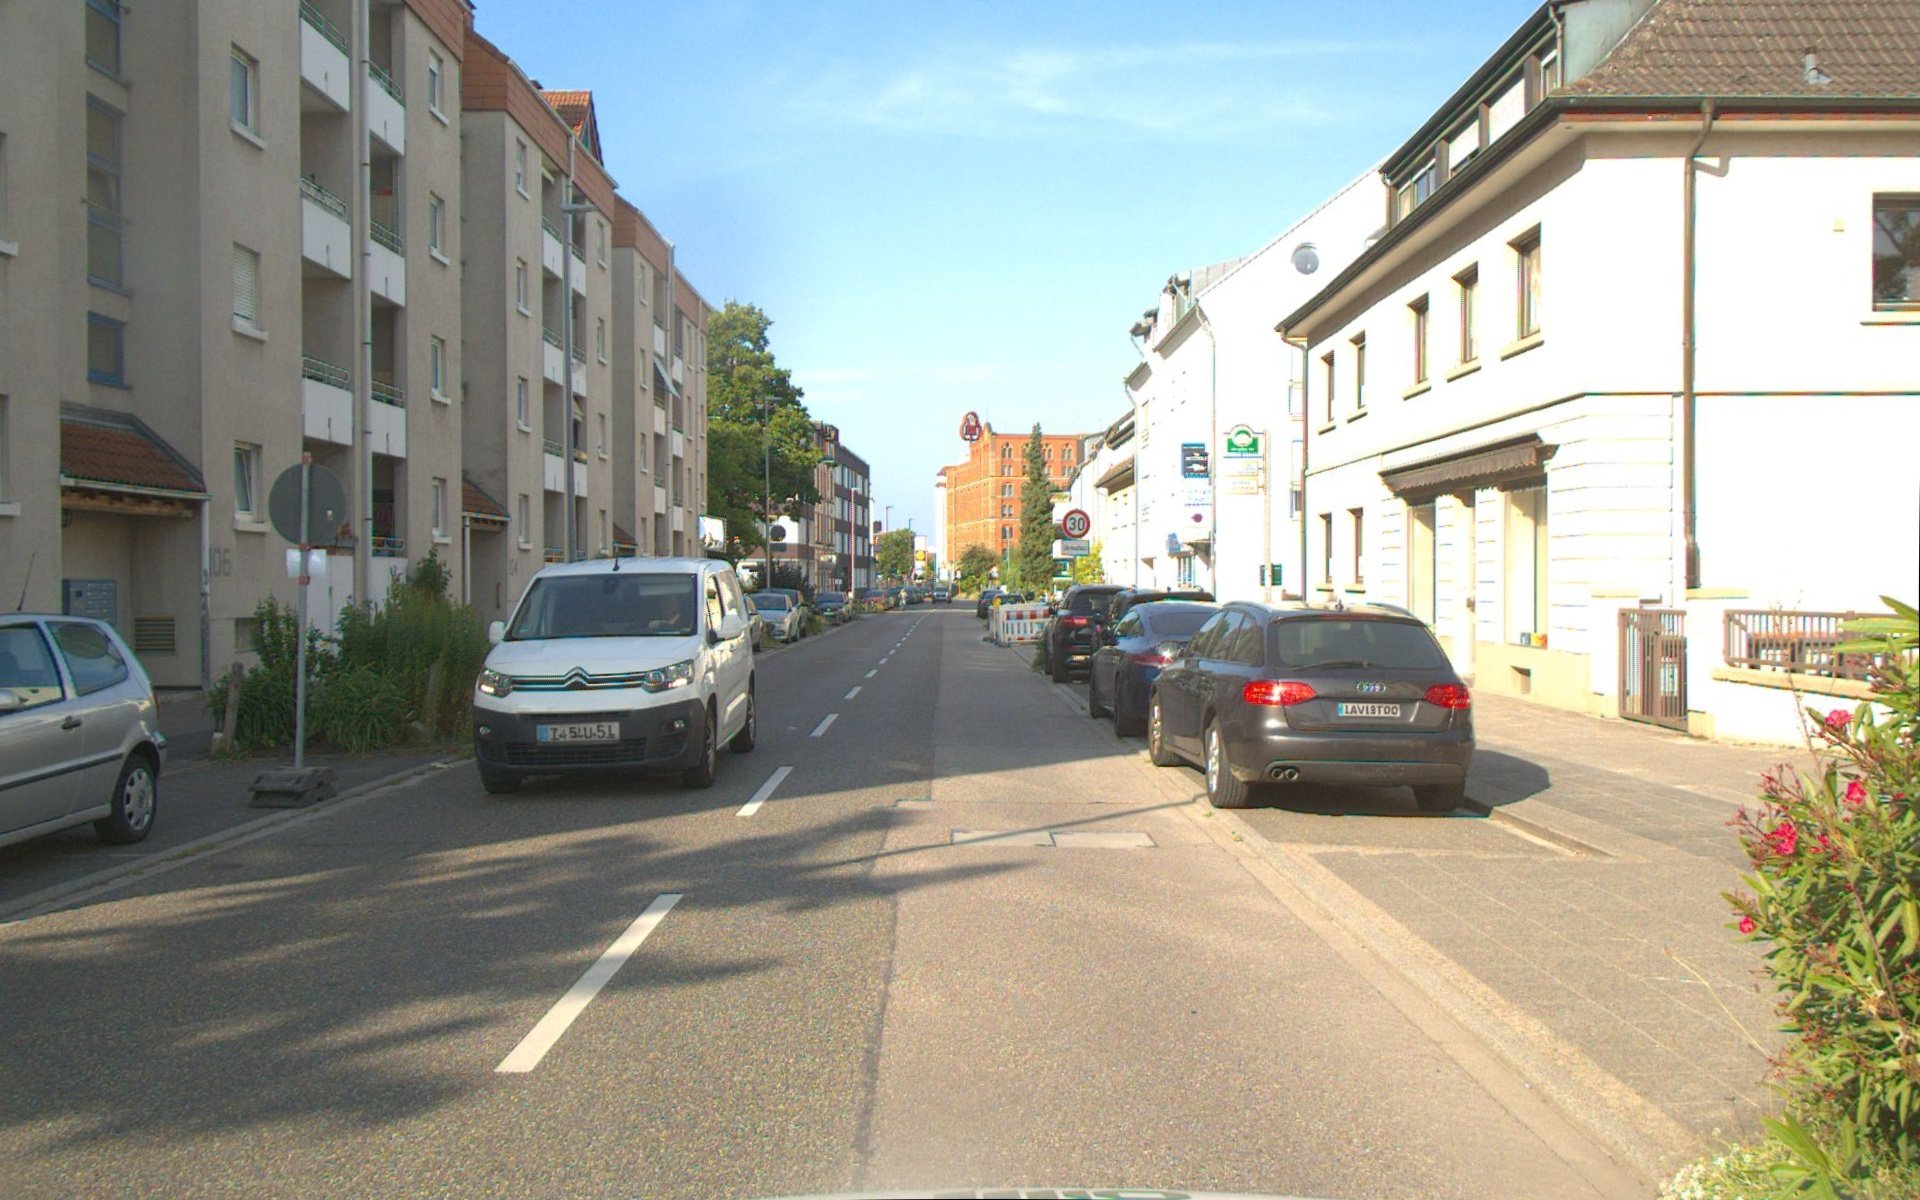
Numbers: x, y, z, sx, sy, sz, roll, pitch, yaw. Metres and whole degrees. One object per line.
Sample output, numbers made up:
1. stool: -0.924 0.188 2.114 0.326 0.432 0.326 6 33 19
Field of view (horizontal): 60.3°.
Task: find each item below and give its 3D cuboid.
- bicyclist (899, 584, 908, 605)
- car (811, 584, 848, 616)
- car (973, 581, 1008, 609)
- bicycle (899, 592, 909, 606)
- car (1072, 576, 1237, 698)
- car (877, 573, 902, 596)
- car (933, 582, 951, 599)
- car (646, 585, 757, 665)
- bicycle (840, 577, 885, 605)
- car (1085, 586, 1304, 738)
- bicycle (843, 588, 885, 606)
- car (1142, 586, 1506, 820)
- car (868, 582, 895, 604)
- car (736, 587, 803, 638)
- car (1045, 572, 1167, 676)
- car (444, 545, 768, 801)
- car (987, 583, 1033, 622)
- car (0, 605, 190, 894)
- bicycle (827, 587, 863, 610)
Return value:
1. bicyclist: -3.980 -0.406 116.878 0.578 1.467 0.751 0 0 1
2. car: -6.302 -0.020 80.004 1.541 1.445 3.803 0 1 -1
3. car: 1.695 -0.306 93.036 1.821 1.497 4.000 1 1 -1
4. bicycle: -3.984 -0.105 116.855 0.596 0.959 1.811 0 0 1
5. car: 2.775 0.473 24.453 1.793 1.587 4.316 -2 1 -2
6. car: -6.140 -1.363 144.943 1.953 1.914 4.000 -1 1 0
7. car: -1.749 -0.939 162.330 1.727 1.644 4.000 -2 1 -1
8. car: -5.467 0.491 35.415 1.691 1.582 3.966 0 1 1
9. bicycle: -6.390 -0.584 108.680 2.858 1.808 1.202 -1 0 0
10. car: 2.499 0.592 18.698 1.792 1.445 4.609 -1 1 0
11. bicycle: -6.388 -0.209 110.455 2.716 1.164 1.143 -1 1 0
12. car: 2.594 0.644 12.902 1.743 1.445 4.495 -1 1 -1
13. car: -5.611 -0.534 118.508 1.802 1.489 3.584 -1 1 0
14. car: -5.746 0.349 50.306 1.652 1.480 4.140 0 1 -2
15. car: 2.500 0.428 29.244 1.792 1.659 4.463 2 -1 1
16. car: -2.792 0.492 14.045 1.883 1.797 4.337 -1 1 -2
17. car: 2.036 0.095 68.885 1.792 1.508 3.943 -1 1 0
18. car: -5.639 0.767 8.645 1.607 1.420 3.670 0 1 -2
19. bicycle: -6.404 -0.075 91.882 1.962 1.238 0.707 -1 1 -6
